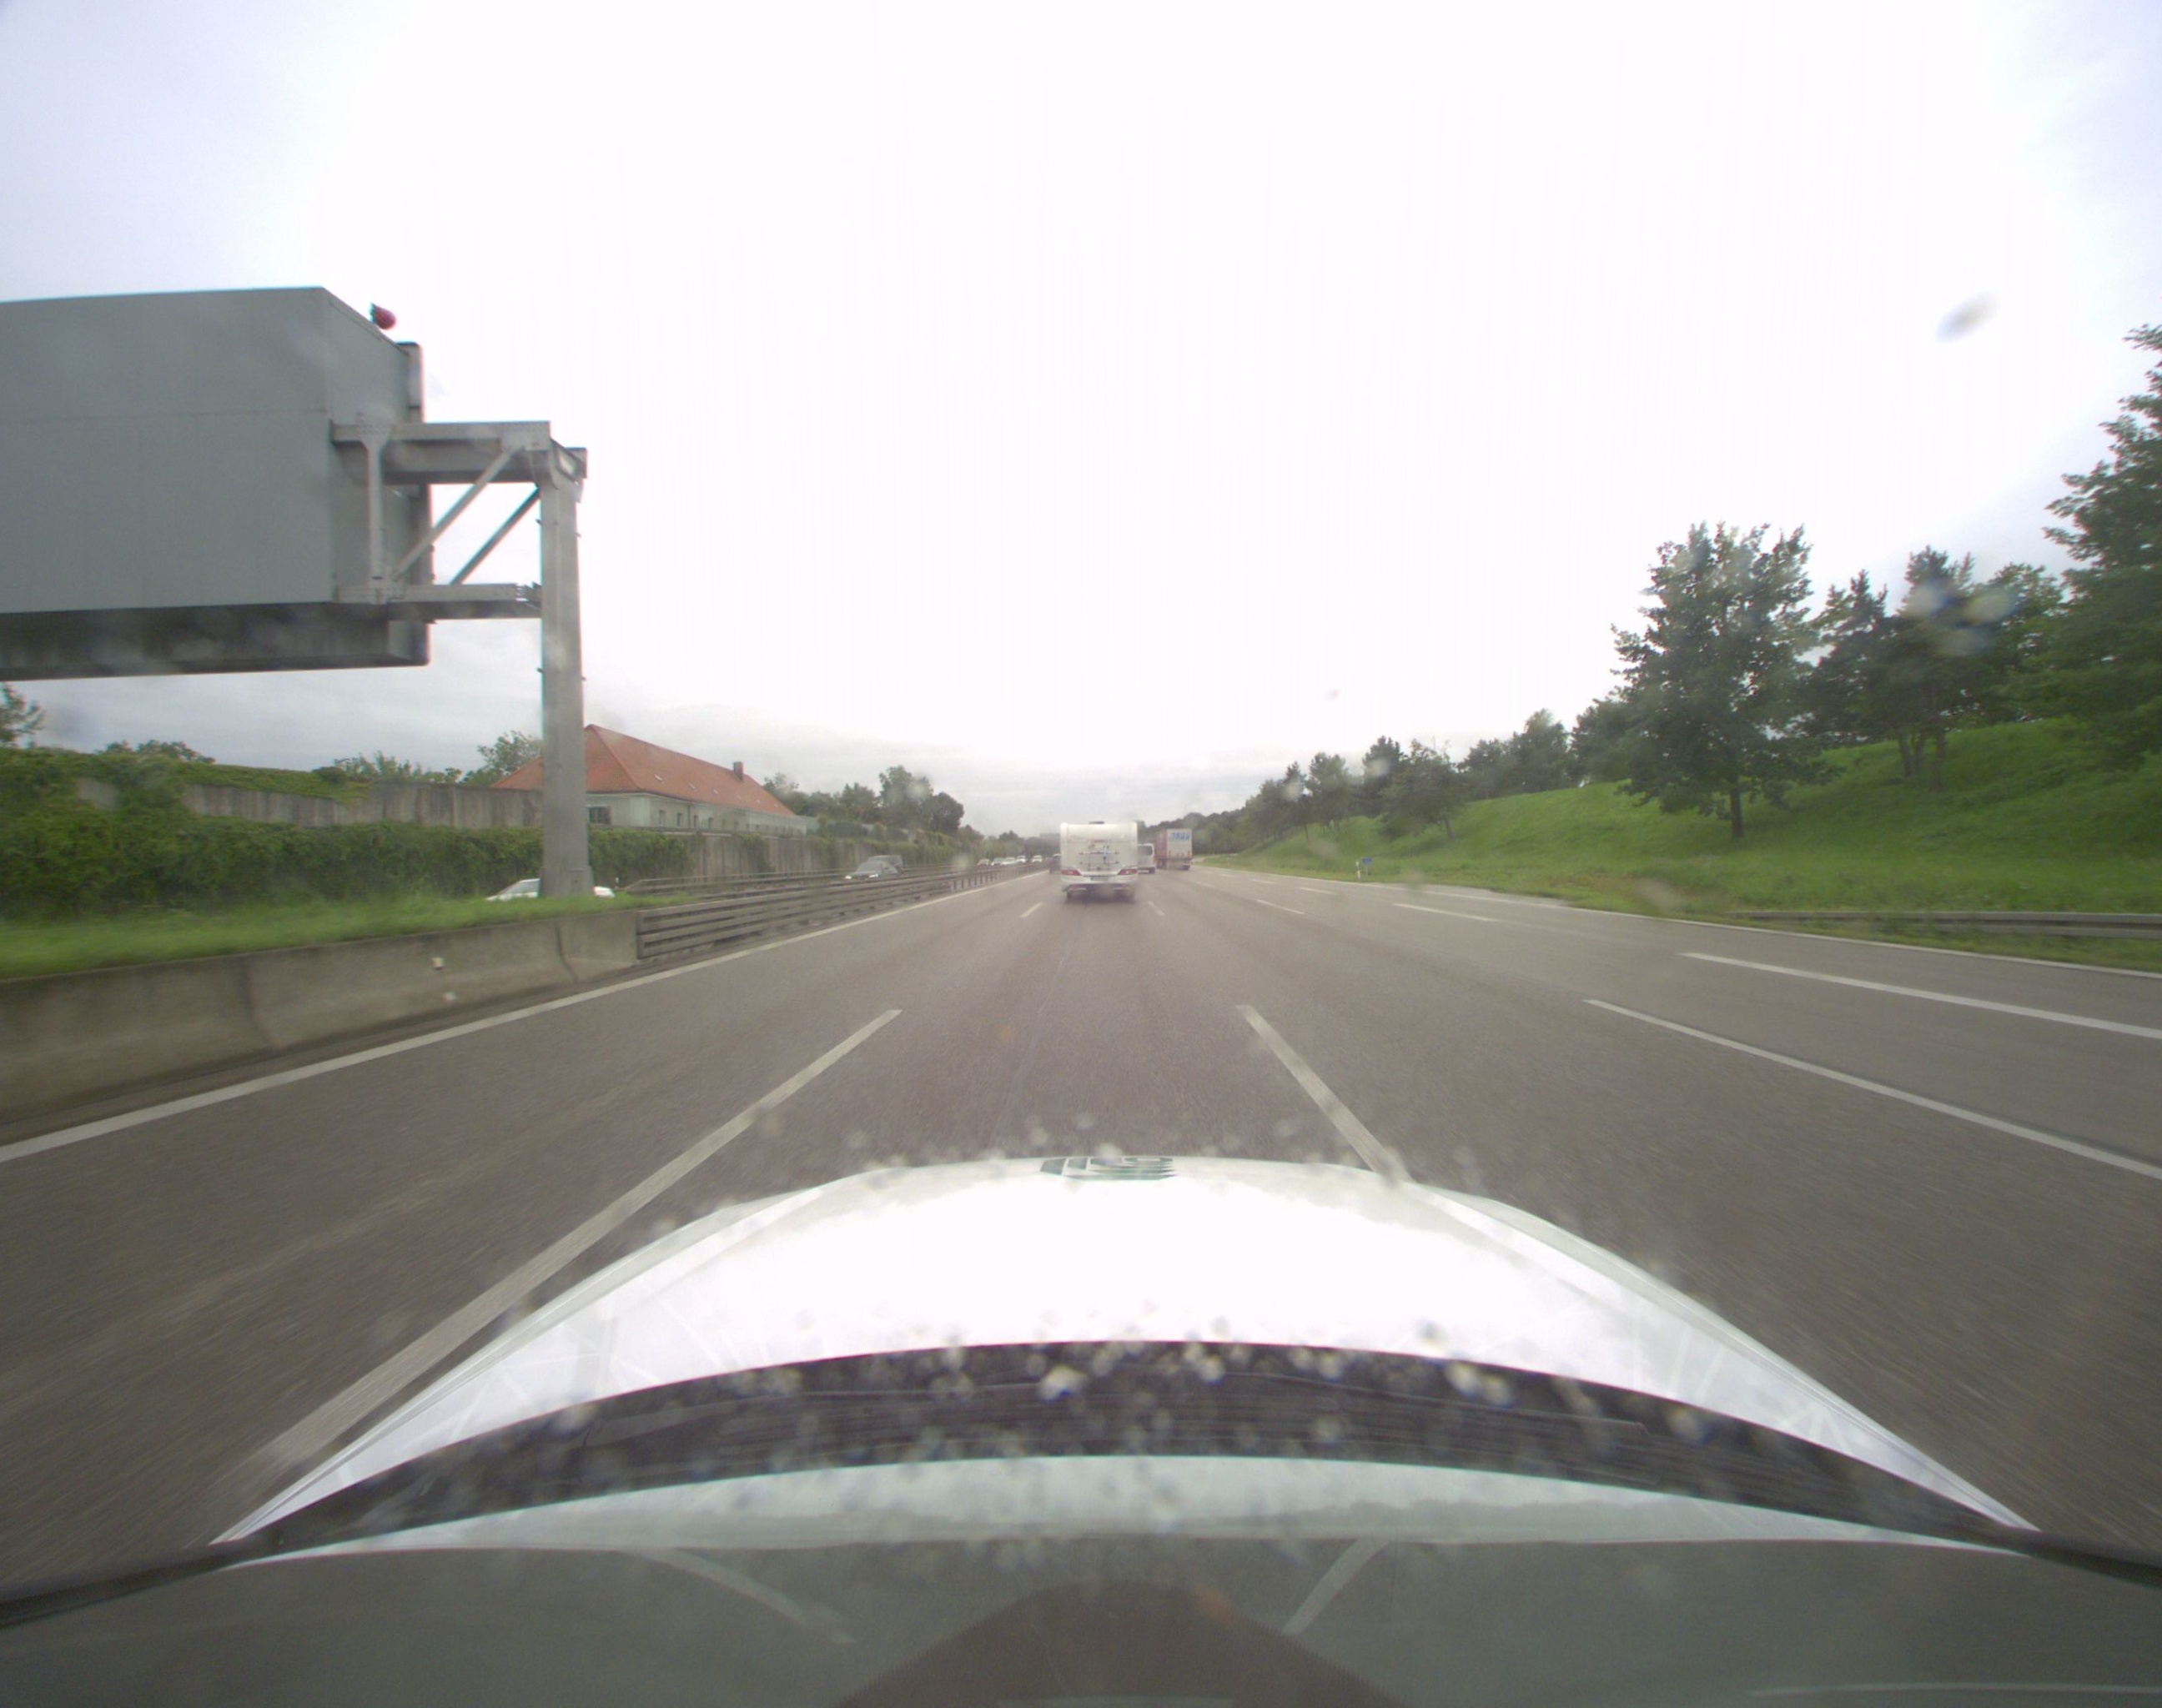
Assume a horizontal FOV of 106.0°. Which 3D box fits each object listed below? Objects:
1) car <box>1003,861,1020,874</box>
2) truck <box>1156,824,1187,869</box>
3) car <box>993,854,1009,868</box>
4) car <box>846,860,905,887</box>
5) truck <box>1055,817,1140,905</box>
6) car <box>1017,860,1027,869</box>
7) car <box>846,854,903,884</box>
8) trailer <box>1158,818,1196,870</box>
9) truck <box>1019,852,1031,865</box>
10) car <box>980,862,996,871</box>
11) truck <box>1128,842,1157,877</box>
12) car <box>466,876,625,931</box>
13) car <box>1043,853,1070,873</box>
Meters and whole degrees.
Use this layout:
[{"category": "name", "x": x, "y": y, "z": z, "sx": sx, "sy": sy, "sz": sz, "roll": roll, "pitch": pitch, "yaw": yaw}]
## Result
[{"category": "car", "x": -9.053, "y": 1.758, "z": 106.885, "sx": 1.596, "sy": 1.406, "sz": 4.766, "roll": -5, "pitch": 0, "yaw": 1}, {"category": "truck", "x": 10.060, "y": -0.801, "z": 91.064, "sx": 3.037, "sy": 4.839, "sz": 5.852, "roll": 0, "pitch": -1, "yaw": 2}, {"category": "car", "x": -11.949, "y": 0.999, "z": 121.630, "sx": 1.926, "sy": 2.013, "sz": 4.732, "roll": -1, "pitch": 0, "yaw": 0}, {"category": "car", "x": -10.941, "y": 1.019, "z": 43.615, "sx": 1.986, "sy": 1.356, "sz": 4.226, "roll": 0, "pitch": 0, "yaw": 2}, {"category": "truck", "x": 0.572, "y": 0.232, "z": 27.850, "sx": 2.651, "sy": 2.742, "sz": 5.078, "roll": 0, "pitch": -1, "yaw": 1}, {"category": "car", "x": -13.550, "y": 2.319, "z": 187.473, "sx": 1.986, "sy": 2.014, "sz": 4.958, "roll": 0, "pitch": 0, "yaw": 1}, {"category": "car", "x": -14.431, "y": 1.018, "z": 57.234, "sx": 2.201, "sy": 1.972, "sz": 6.273, "roll": 0, "pitch": 0, "yaw": 2}, {"category": "trailer", "x": 9.690, "y": -0.871, "z": 83.382, "sx": 3.087, "sy": 4.922, "sz": 11.797, "roll": 0, "pitch": 0, "yaw": 3}, {"category": "truck", "x": -15.509, "y": 1.263, "z": 227.719, "sx": 2.682, "sy": 3.777, "sz": 8.337, "roll": 0, "pitch": -1, "yaw": 1}, {"category": "car", "x": -15.879, "y": 2.168, "z": 139.631, "sx": 1.948, "sy": 1.552, "sz": 4.525, "roll": 0, "pitch": 0, "yaw": 3}, {"category": "truck", "x": 4.996, "y": 0.475, "z": 66.940, "sx": 2.046, "sy": 2.770, "sz": 5.550, "roll": 0, "pitch": -1, "yaw": 1}, {"category": "car", "x": -15.421, "y": 1.378, "z": 23.763, "sx": 1.698, "sy": 1.365, "sz": 4.237, "roll": 0, "pitch": 0, "yaw": 2}, {"category": "car", "x": -2.075, "y": 0.757, "z": 69.960, "sx": 1.986, "sy": 1.600, "sz": 5.124, "roll": 0, "pitch": 0, "yaw": 1}]
